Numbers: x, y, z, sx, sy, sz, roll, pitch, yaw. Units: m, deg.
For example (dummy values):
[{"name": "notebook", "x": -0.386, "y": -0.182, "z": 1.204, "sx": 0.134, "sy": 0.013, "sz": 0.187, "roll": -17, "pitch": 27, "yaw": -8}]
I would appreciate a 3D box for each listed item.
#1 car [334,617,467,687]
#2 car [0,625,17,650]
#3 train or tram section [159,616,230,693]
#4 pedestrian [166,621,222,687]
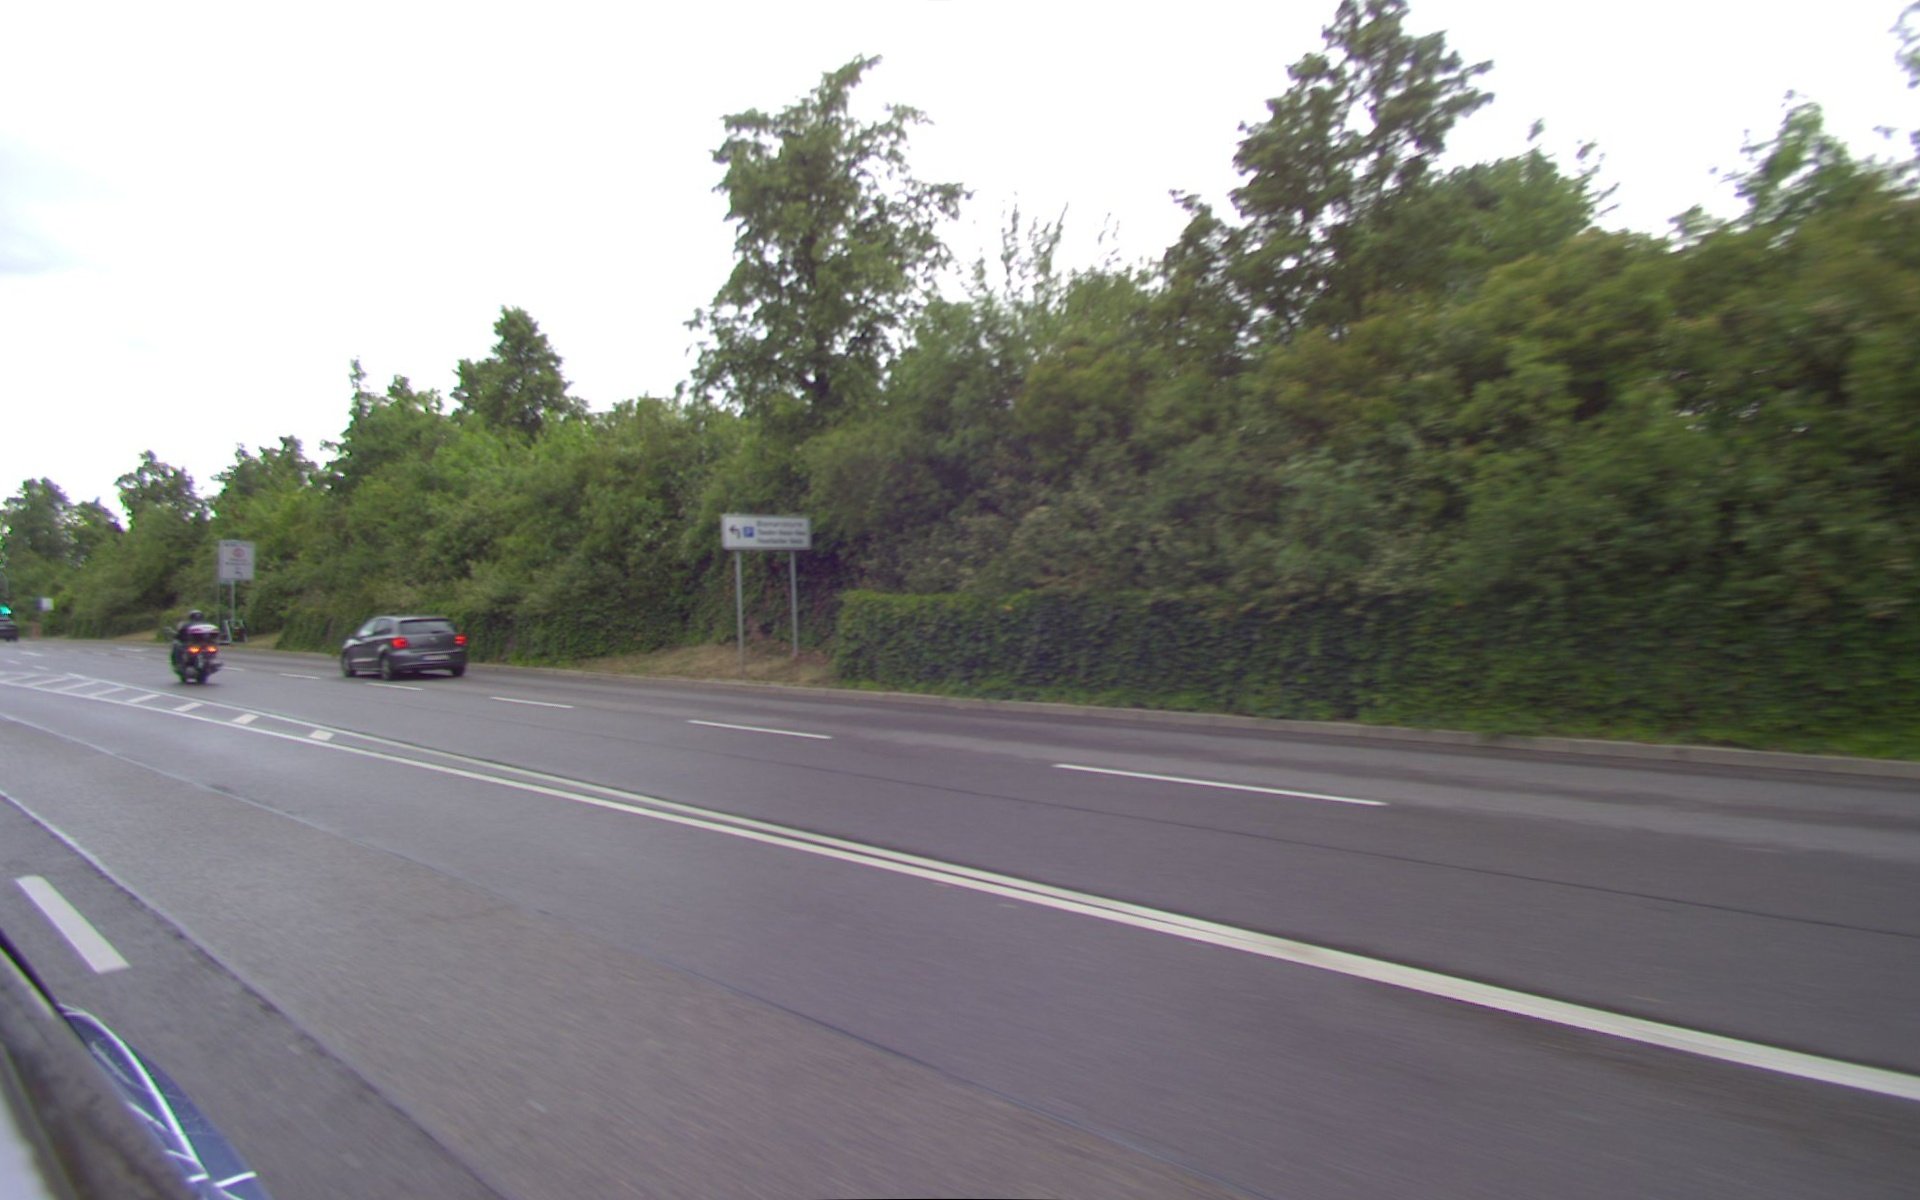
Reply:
[{"name": "car", "x": -12.736, "y": 1.113, "z": 22.957, "sx": 3.695, "sy": 1.448, "sz": 1.532, "roll": -1, "pitch": -1, "yaw": 42}, {"name": "car", "x": -64.895, "y": 2.497, "z": 67.940, "sx": 4.424, "sy": 1.618, "sz": 1.782, "roll": -2, "pitch": 0, "yaw": 40}, {"name": "train or tram section", "x": -16.962, "y": 1.175, "z": 22.402, "sx": 2.382, "sy": 1.582, "sz": 0.783, "roll": -1, "pitch": 0, "yaw": 41}, {"name": "pedestrian", "x": -16.959, "y": 1.174, "z": 22.399, "sx": 0.974, "sy": 1.394, "sz": 0.783, "roll": -1, "pitch": 0, "yaw": 41}]
